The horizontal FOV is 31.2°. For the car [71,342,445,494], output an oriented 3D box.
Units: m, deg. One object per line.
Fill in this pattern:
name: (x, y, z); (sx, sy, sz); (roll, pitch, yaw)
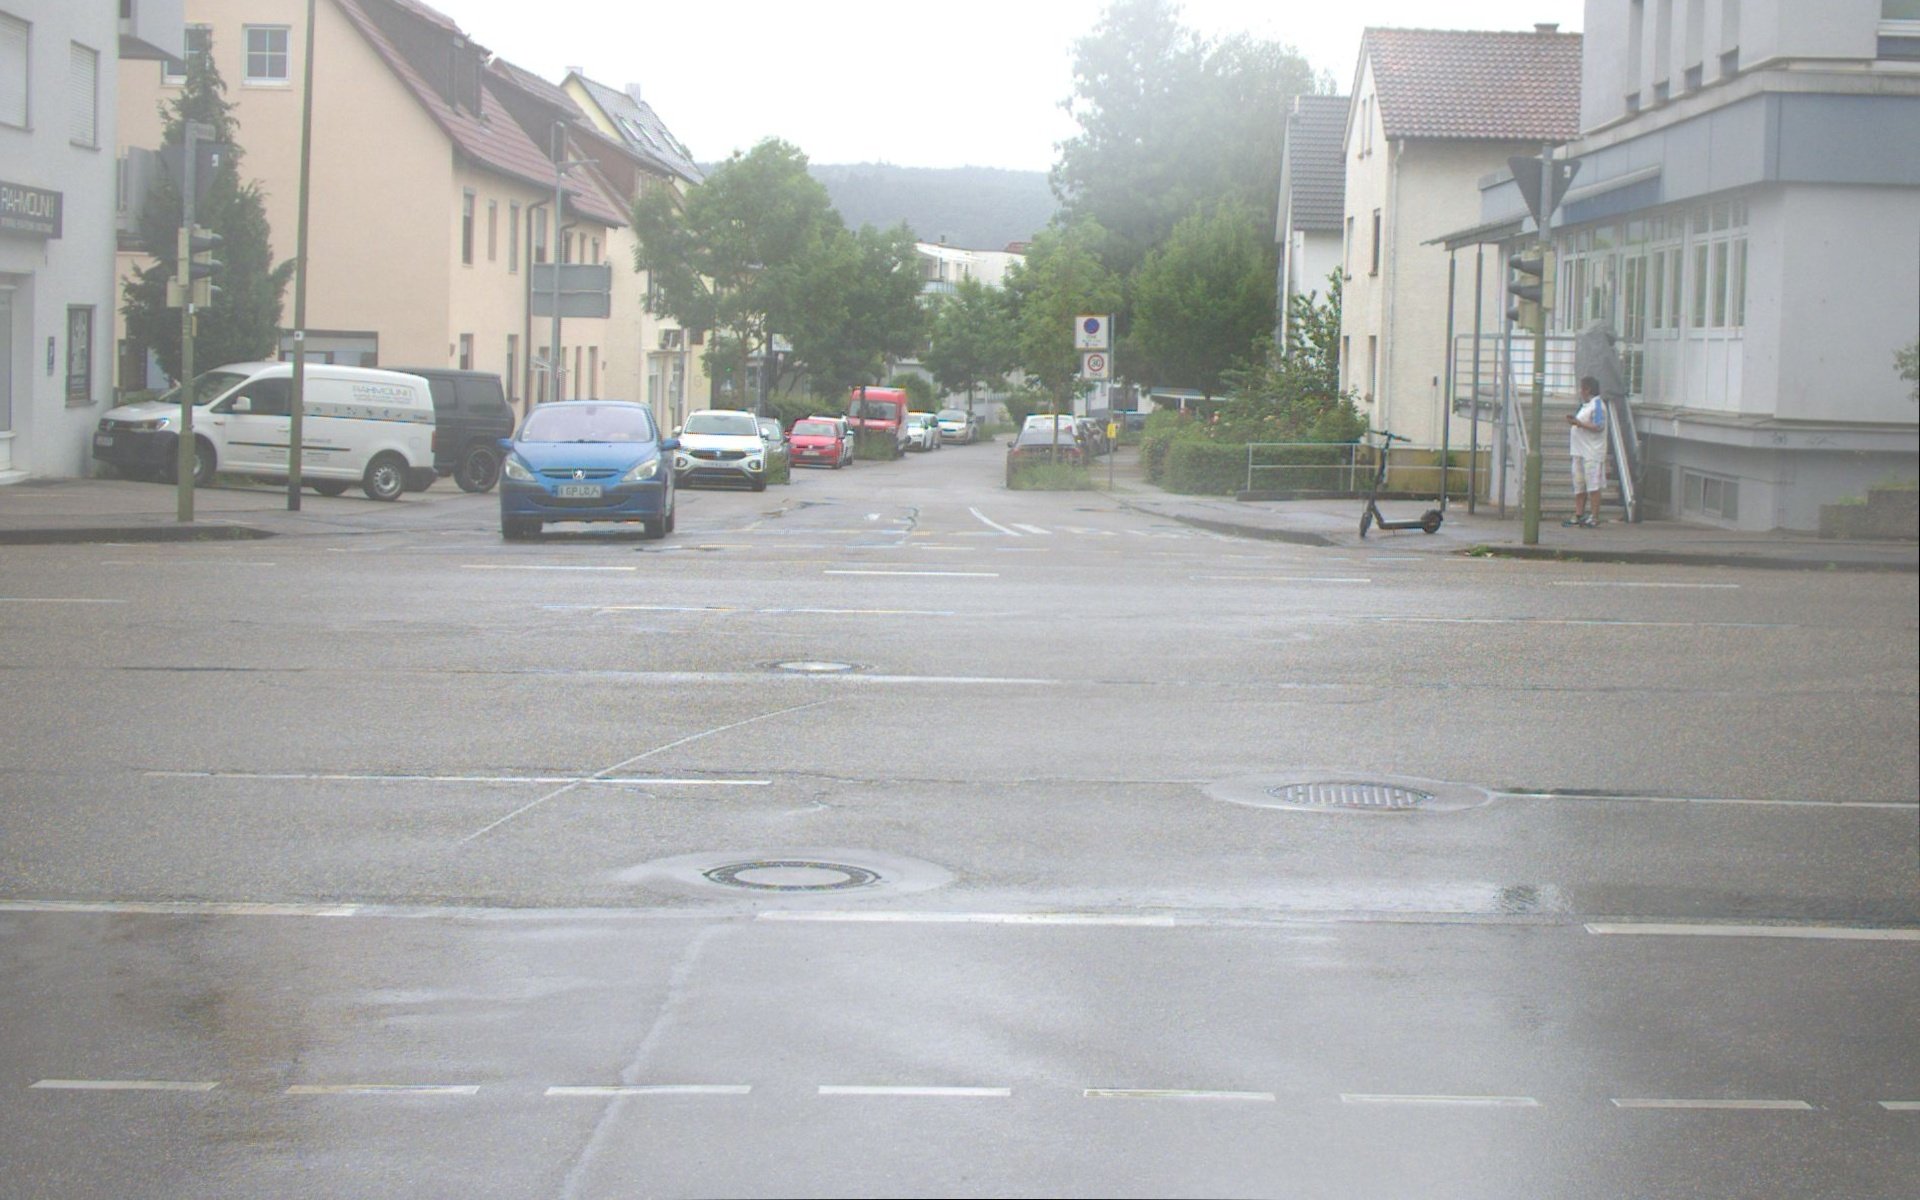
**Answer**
car: (-9.674, -2.486, 47.585); (4.715, 1.772, 1.772); (2, 1, -39)

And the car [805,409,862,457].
car: (-4.165, -5.456, 112.472); (1.767, 1.513, 4.001); (0, 3, -3)

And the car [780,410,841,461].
car: (-4.539, -4.976, 104.085); (1.767, 1.513, 4.001); (0, 3, -3)

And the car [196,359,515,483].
car: (-9.560, -2.819, 54.525); (4.608, 1.882, 1.963); (-2, 3, -39)

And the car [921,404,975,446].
car: (-0.525, -7.875, 154.608); (1.994, 1.700, 3.999); (1, 1, 6)

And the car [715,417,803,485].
car: (-4.610, -3.452, 79.319); (1.767, 1.513, 4.195); (0, 3, 0)

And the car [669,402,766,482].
car: (-4.759, -3.116, 67.850); (1.767, 1.518, 4.001); (0, 3, -2)

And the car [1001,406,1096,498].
car: (2.129, -3.487, 81.517); (1.994, 2.007, 3.999); (1, 1, 5)

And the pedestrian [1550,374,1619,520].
pedestrian: (7.188, -1.753, 39.598); (0.654, 1.646, 0.646); (1, 0, 0)

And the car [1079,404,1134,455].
car: (5.883, -6.835, 137.815); (1.994, 2.006, 4.000); (1, 3, 5)

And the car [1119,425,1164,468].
car: (8.551, -7.224, 161.909); (1.994, 2.006, 4.000); (1, 3, 5)

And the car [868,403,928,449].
car: (-2.483, -7.009, 138.607); (1.994, 1.678, 3.999); (1, 1, 5)

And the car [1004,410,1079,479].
car: (2.479, -4.683, 103.547); (1.994, 2.006, 4.000); (1, 3, 5)

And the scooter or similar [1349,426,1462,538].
scooter or similar: (4.992, -1.320, 38.569); (1.058, 1.223, 0.802); (1, 0, -9)

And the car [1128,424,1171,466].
car: (9.399, -7.686, 170.465); (1.994, 2.006, 4.000); (1, 3, 5)

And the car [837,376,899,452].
car: (-3.383, -6.860, 127.223); (2.216, 2.759, 5.726); (0, 3, -1)

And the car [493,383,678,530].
car: (-4.005, -1.516, 37.266); (1.767, 1.440, 4.001); (1, 1, -3)
